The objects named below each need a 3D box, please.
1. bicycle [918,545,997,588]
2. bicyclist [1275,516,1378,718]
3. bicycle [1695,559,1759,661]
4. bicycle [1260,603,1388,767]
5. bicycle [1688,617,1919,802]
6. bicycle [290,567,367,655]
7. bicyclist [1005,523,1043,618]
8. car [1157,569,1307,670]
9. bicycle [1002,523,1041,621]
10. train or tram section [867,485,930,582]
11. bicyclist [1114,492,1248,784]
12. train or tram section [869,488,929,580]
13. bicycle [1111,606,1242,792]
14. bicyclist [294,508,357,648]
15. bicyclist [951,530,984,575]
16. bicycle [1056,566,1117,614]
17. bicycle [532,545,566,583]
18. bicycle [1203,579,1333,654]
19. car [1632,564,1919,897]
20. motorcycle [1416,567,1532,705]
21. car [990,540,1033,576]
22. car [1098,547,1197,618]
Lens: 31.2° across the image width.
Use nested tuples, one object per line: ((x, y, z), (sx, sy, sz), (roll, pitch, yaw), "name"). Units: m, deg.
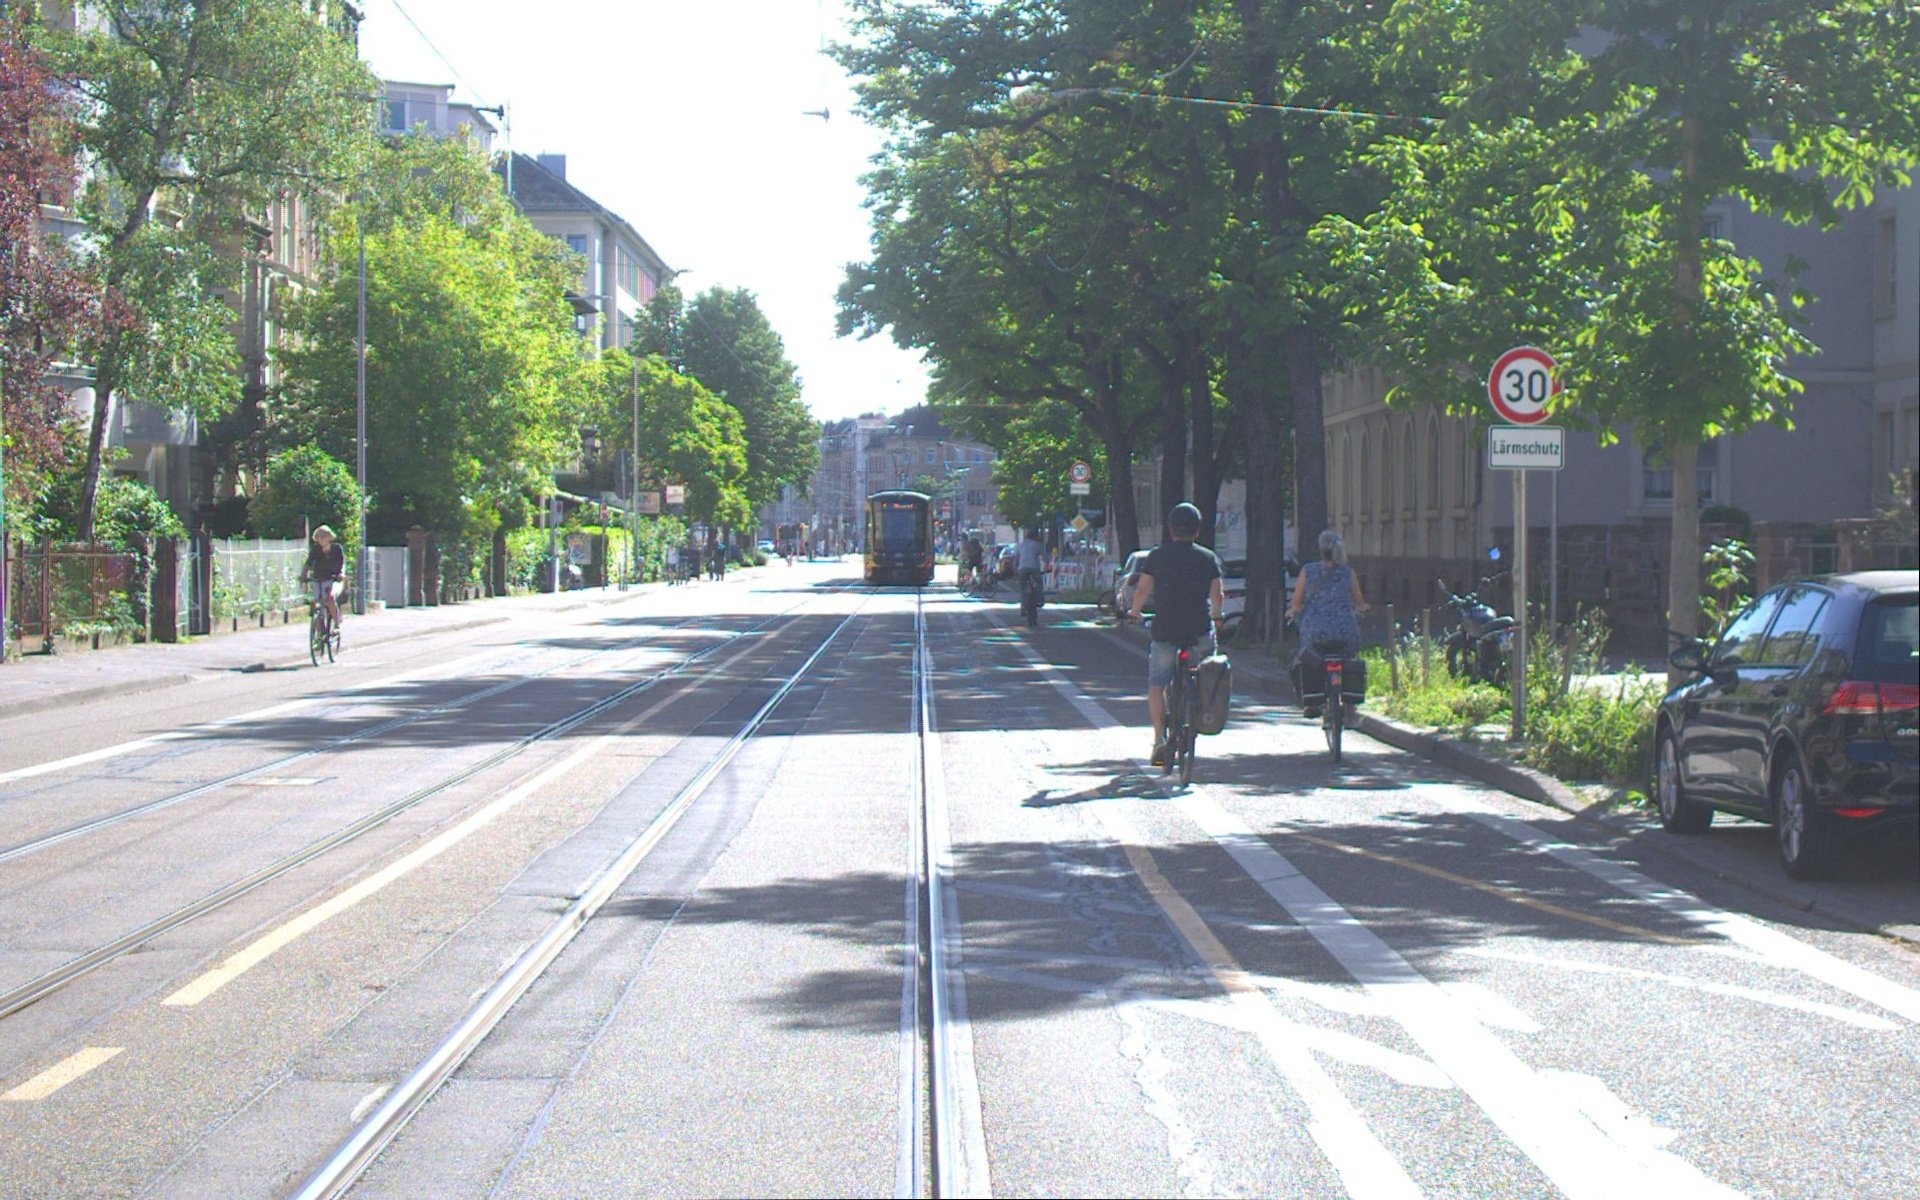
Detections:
((-0.071, -0.986, 100.842), (2.141, 1.167, 0.802), (2, 1, 15), "bicycle")
((2.723, 0.121, 25.586), (0.635, 1.463, 0.616), (2, 1, -1), "bicyclist")
((9.470, 0.113, 42.497), (0.434, 1.219, 1.373), (2, 1, -1), "bicycle")
((2.690, 0.609, 25.569), (0.692, 1.108, 1.917), (2, 1, -1), "bicycle")
((5.374, 0.649, 20.786), (1.792, 1.063, 0.621), (-1, 1, -5), "bicycle")
((-8.263, 0.138, 45.047), (0.692, 1.108, 1.719), (0, 1, -1), "bicycle")
((1.228, -0.565, 66.084), (0.645, 1.789, 0.956), (2, 1, -1), "bicyclist")
((4.133, 0.260, 52.843), (1.628, 1.431, 4.666), (0, 1, -4), "car")
((1.181, -0.556, 66.759), (0.663, 1.853, 2.260), (2, 1, 1), "bicycle")
((-2.270, -2.469, 127.752), (2.153, 3.420, 6.612), (2, 1, -1), "train or tram section")
((1.432, 0.234, 22.379), (0.727, 1.842, 0.837), (2, 1, -1), "bicyclist")
((-2.381, -2.587, 134.388), (2.153, 3.420, 6.612), (2, 1, -1), "train or tram section")
((1.399, 0.625, 22.461), (0.692, 1.108, 1.719), (2, 1, -1), "bicycle")
((-8.263, -0.285, 44.785), (0.660, 1.795, 0.616), (-1, 0, 0), "bicyclist")
((0.217, -1.378, 100.524), (0.772, 1.287, 0.733), (2, 1, 16), "bicyclist")
((2.846, -0.223, 77.188), (1.270, 1.020, 0.704), (3, 0, 7), "bicycle")
((-12.176, -1.079, 101.815), (0.632, 1.065, 1.832), (2, 1, -17), "bicycle")
((4.444, 0.235, 49.617), (1.792, 1.016, 0.620), (-1, 1, -1), "bicycle")
((4.733, 0.569, 17.457), (1.787, 1.459, 4.045), (0, 1, -1), "car")
((4.746, 0.314, 31.846), (0.495, 1.186, 1.862), (-3, 2, -8), "motorcycle")
((2.310, -1.911, 154.266), (1.754, 1.546, 3.677), (2, 1, -1), "car")
((3.867, -0.386, 71.547), (1.748, 1.415, 4.000), (0, 1, -1), "car")
